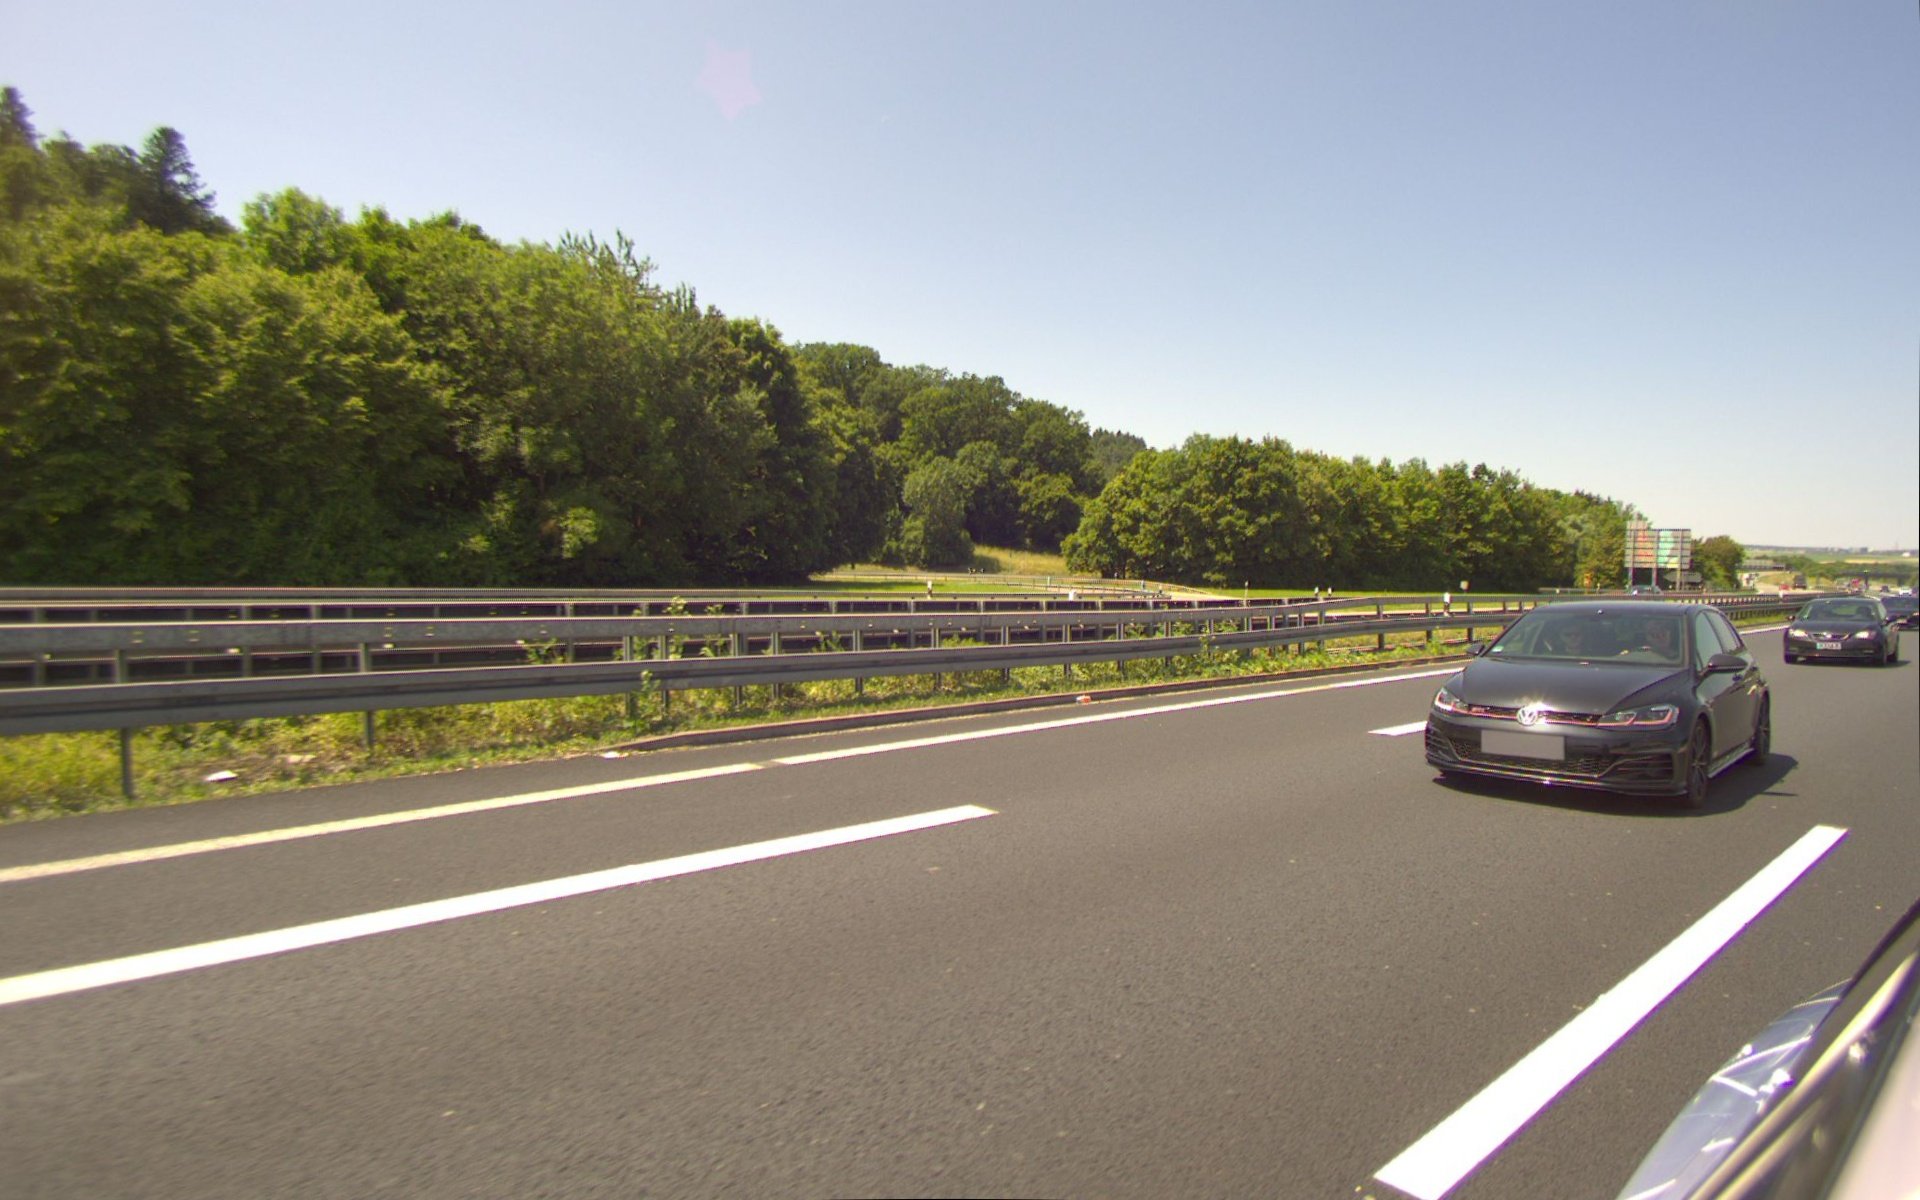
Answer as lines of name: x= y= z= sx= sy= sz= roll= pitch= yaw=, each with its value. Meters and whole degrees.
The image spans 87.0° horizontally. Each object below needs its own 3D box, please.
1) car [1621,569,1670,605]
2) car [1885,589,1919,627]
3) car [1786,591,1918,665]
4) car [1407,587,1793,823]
car: x=41.571 y=-0.809 z=61.352 sx=1.992 sy=2.038 sz=3.941 roll=2 pitch=2 yaw=41
car: x=40.205 y=0.309 z=42.561 sx=1.886 sy=1.491 sz=3.808 roll=1 pitch=2 yaw=42
car: x=19.504 y=0.537 z=22.078 sx=3.697 sy=1.417 sz=1.779 roll=-1 pitch=2 yaw=-43
car: x=5.464 y=0.645 z=8.444 sx=3.900 sy=1.453 sz=1.796 roll=-1 pitch=2 yaw=-43
